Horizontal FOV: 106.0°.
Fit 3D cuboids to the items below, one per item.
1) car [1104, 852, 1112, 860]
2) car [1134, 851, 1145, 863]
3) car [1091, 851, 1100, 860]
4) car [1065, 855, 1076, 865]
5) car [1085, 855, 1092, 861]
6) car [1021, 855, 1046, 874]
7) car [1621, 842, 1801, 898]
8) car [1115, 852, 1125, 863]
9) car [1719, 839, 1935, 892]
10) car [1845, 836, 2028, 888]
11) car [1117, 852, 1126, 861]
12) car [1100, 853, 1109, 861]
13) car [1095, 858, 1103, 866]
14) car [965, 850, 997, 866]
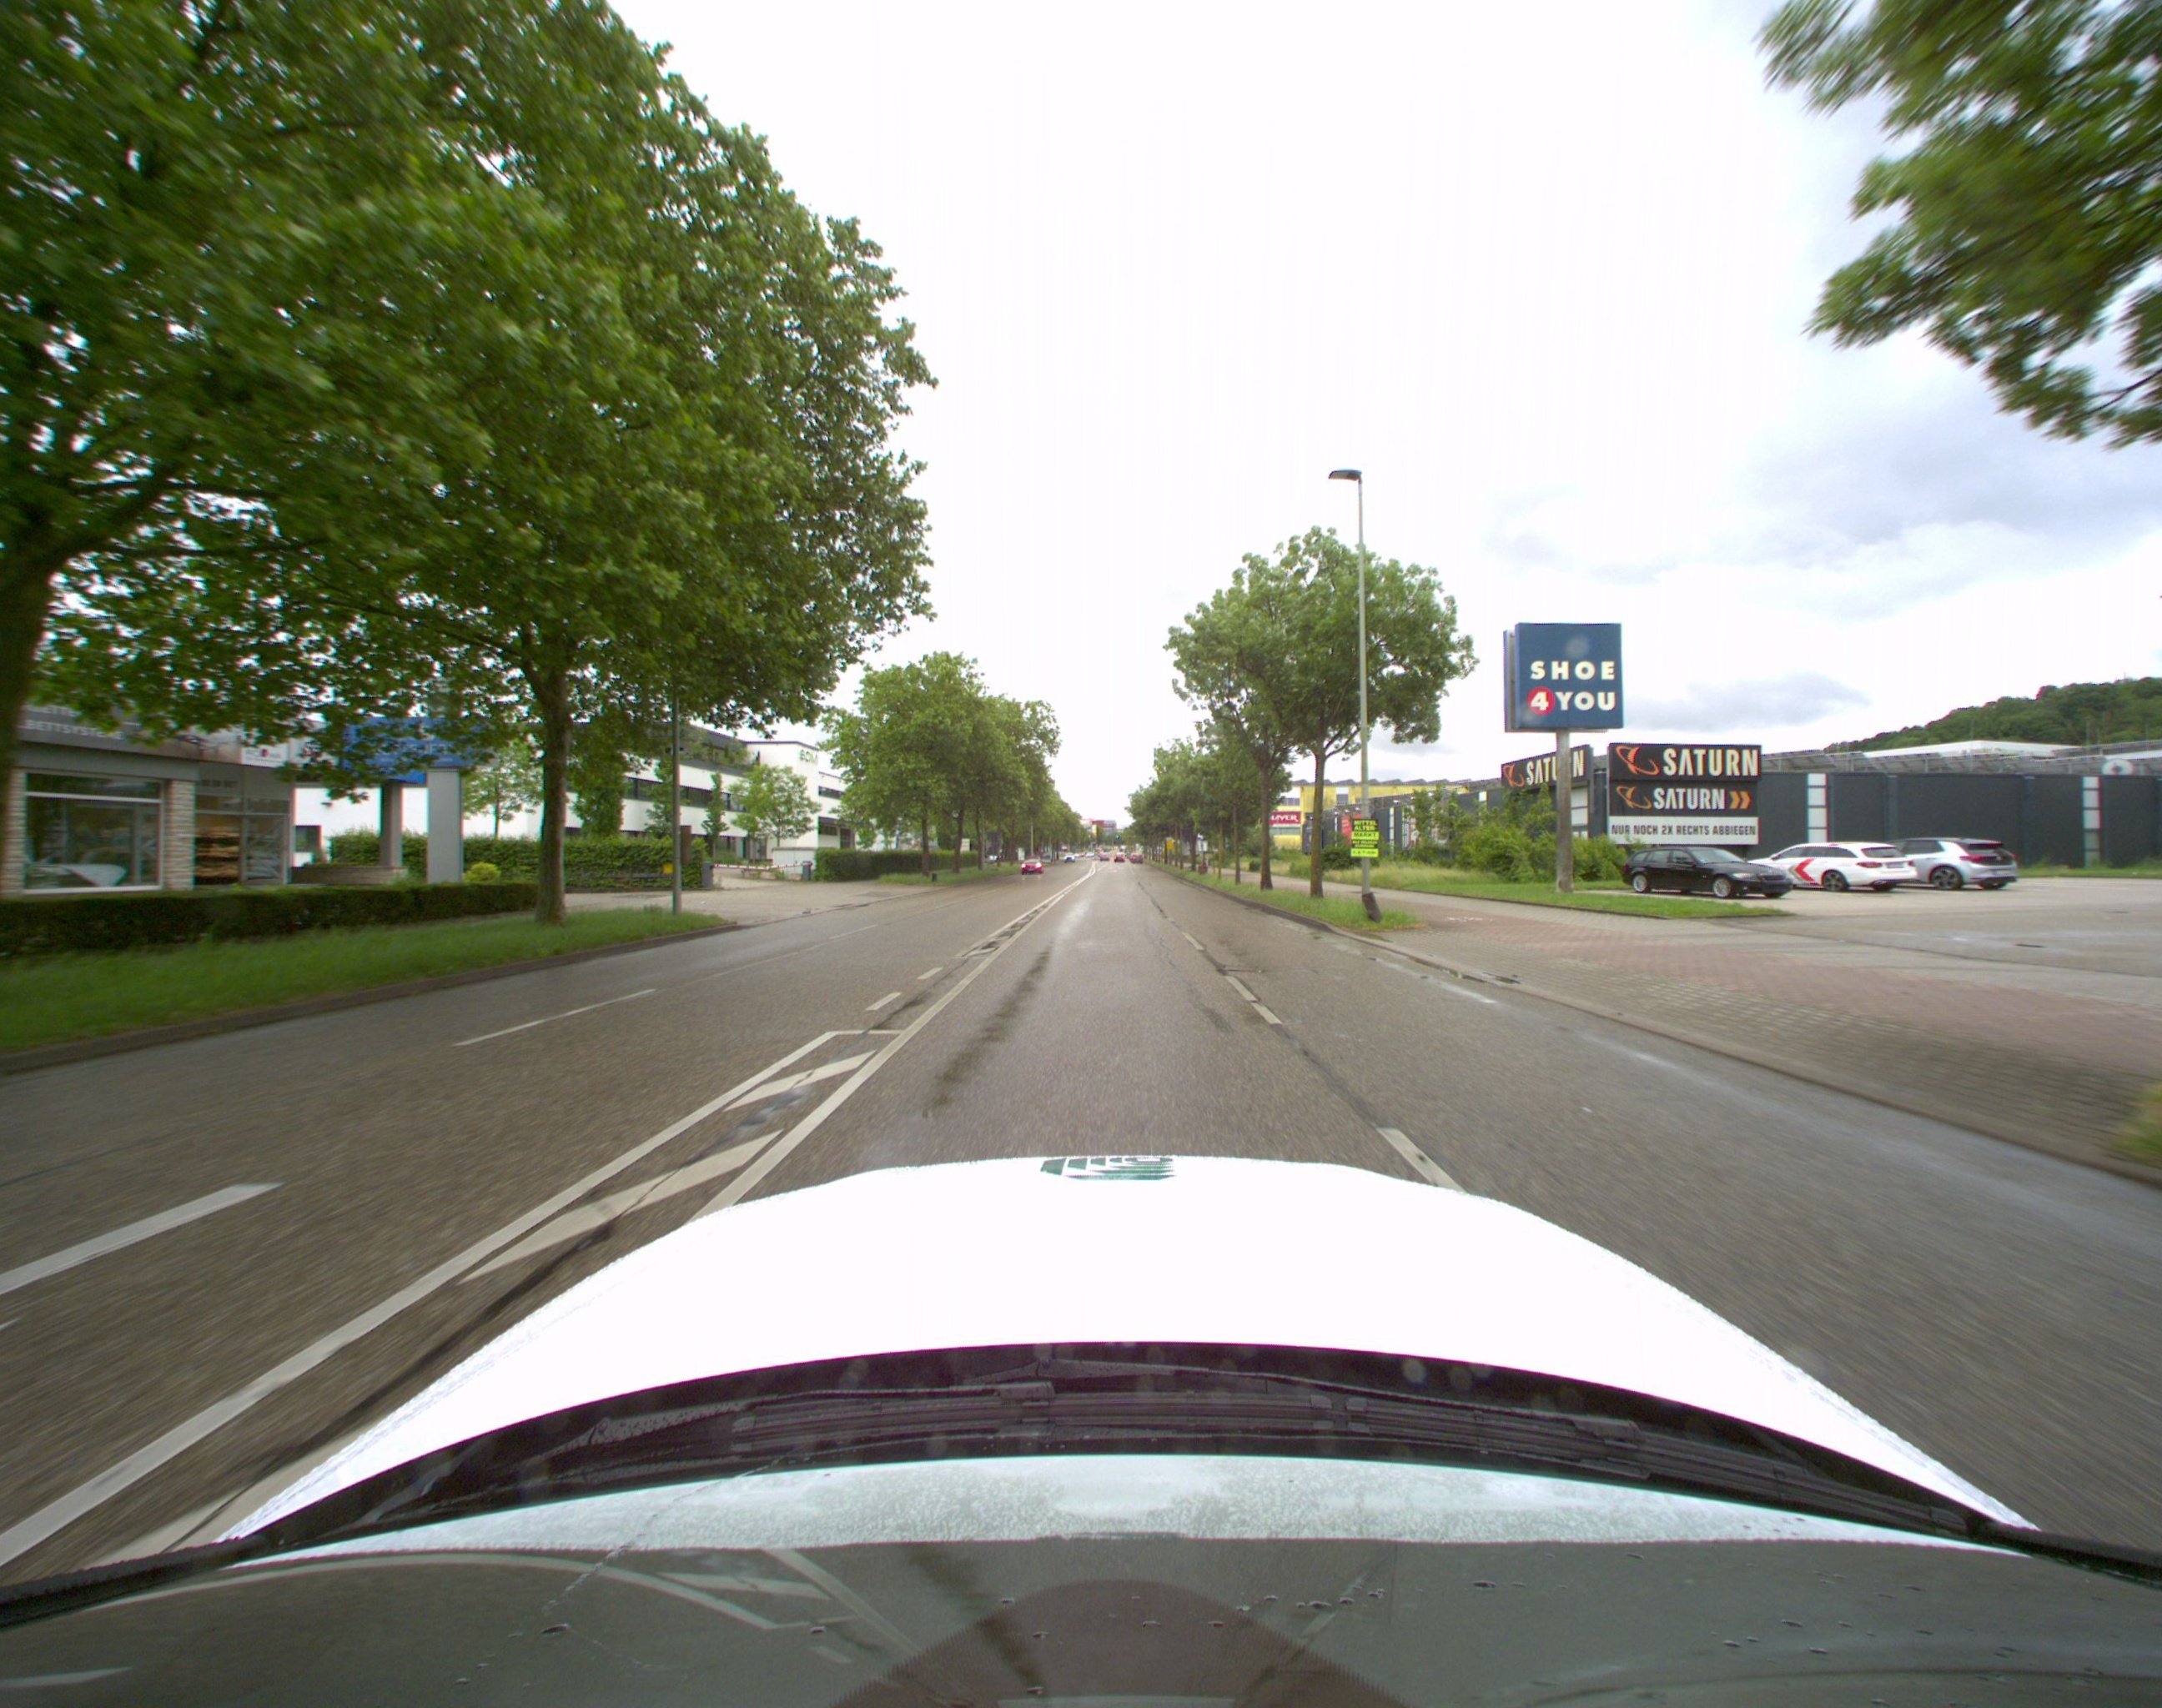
[{"bbox_3d":[6.338,0.475,192.138,1.883,1.876,4.126,-1,0,2],"label":"car"},{"bbox_3d":[10.066,0.567,140.344,1.737,2.013,4.004,-1,0,4],"label":"car"},{"bbox_3d":[3.308,0.400,190.574,1.986,2.013,4.002,-1,0,2],"label":"car"},{"bbox_3d":[-2.009,1.134,152.808,1.696,1.737,4.005,-1,0,5],"label":"car"},{"bbox_3d":[2.246,1.052,240.081,1.821,1.728,4.000,-1,0,0],"label":"car"},{"bbox_3d":[-4.037,0.855,69.541,1.719,1.517,3.823,-1,0,3],"label":"car"},{"bbox_3d":[17.952,0.409,23.485,1.576,1.428,4.256,-1,0,-7],"label":"car"},{"bbox_3d":[7.362,0.702,154.692,1.737,2.013,4.004,-1,0,4],"label":"car"},{"bbox_3d":[22.879,0.312,25.306,1.878,1.468,4.941,-1,0,-7],"label":"car"},{"bbox_3d":[25.736,0.230,24.679,1.578,1.441,3.579,-1,0,-7],"label":"car"},{"bbox_3d":[8.378,0.474,168.023,1.737,1.737,4.004,-1,0,4],"label":"car"},{"bbox_3d":[5.170,0.704,177.404,1.737,1.701,4.004,-1,0,4],"label":"car"},{"bbox_3d":[4.846,2.084,219.483,1.821,2.013,4.000,-1,0,0],"label":"car"},{"bbox_3d":[-13.219,0.528,107.707,3.971,1.925,1.827,-1,-1,2],"label":"car"}]
